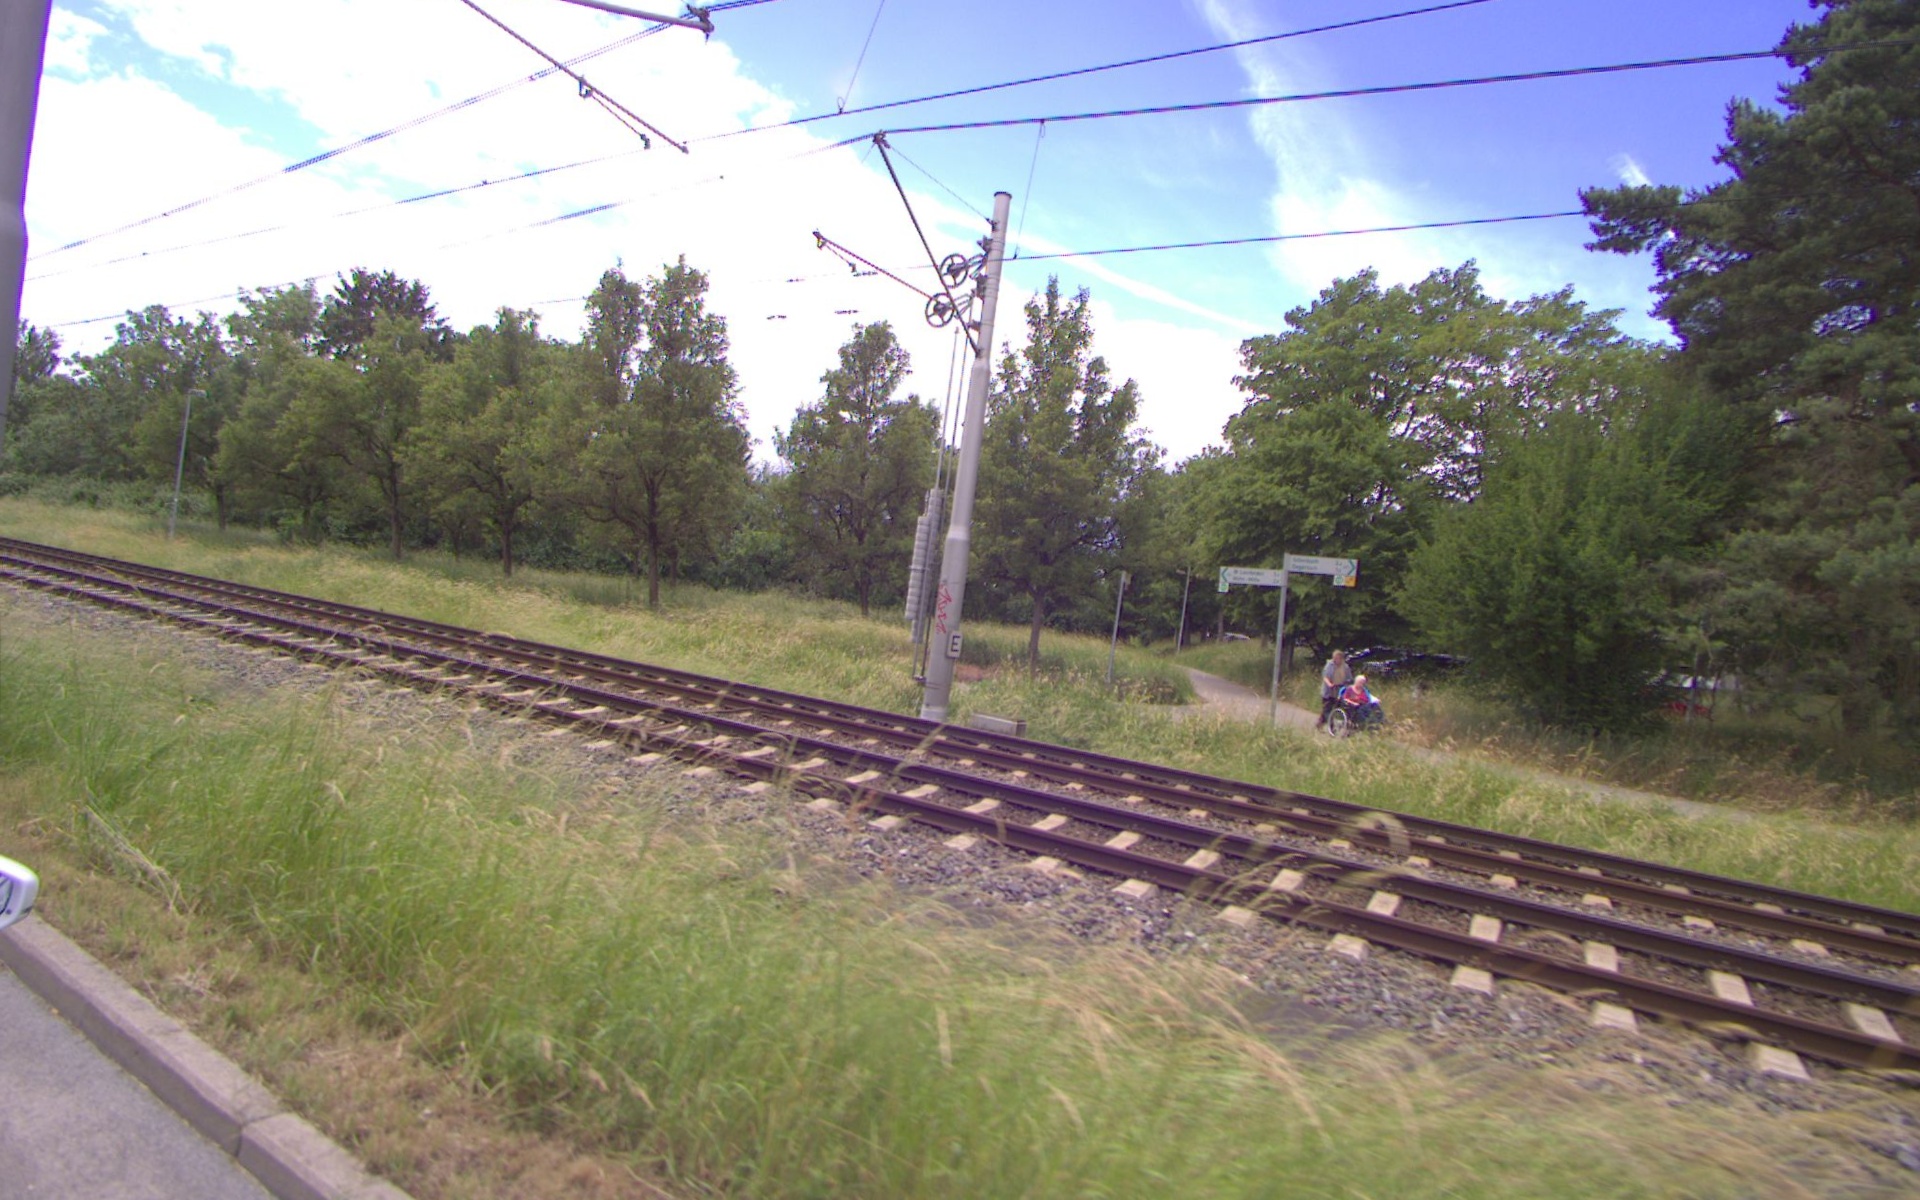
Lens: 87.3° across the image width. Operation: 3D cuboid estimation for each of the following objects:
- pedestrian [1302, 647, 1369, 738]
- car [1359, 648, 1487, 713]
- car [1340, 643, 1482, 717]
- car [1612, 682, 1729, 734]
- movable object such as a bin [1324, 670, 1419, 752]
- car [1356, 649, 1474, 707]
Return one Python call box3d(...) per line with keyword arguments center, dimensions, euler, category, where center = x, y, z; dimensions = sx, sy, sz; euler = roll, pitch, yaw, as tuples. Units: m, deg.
box3d(center=(7.518, 1.845, 20.195), dimensions=(0.648, 1.687, 0.955), euler=(6, 0, -17), category="pedestrian")
box3d(center=(16.996, 2.938, 37.122), dimensions=(3.925, 1.825, 1.750), euler=(7, 0, 19), category="car")
box3d(center=(14.714, 2.590, 33.047), dimensions=(3.925, 1.825, 1.750), euler=(7, 0, 19), category="car")
box3d(center=(31.852, 4.823, 45.199), dimensions=(3.743, 1.754, 1.832), euler=(7, -1, 6), category="car")
box3d(center=(7.808, 2.083, 19.164), dimensions=(0.650, 1.326, 1.637), euler=(6, 0, -17), category="movable object such as a bin")
box3d(center=(19.039, 3.232, 42.251), dimensions=(3.924, 1.834, 2.001), euler=(7, 0, 6), category="car")
